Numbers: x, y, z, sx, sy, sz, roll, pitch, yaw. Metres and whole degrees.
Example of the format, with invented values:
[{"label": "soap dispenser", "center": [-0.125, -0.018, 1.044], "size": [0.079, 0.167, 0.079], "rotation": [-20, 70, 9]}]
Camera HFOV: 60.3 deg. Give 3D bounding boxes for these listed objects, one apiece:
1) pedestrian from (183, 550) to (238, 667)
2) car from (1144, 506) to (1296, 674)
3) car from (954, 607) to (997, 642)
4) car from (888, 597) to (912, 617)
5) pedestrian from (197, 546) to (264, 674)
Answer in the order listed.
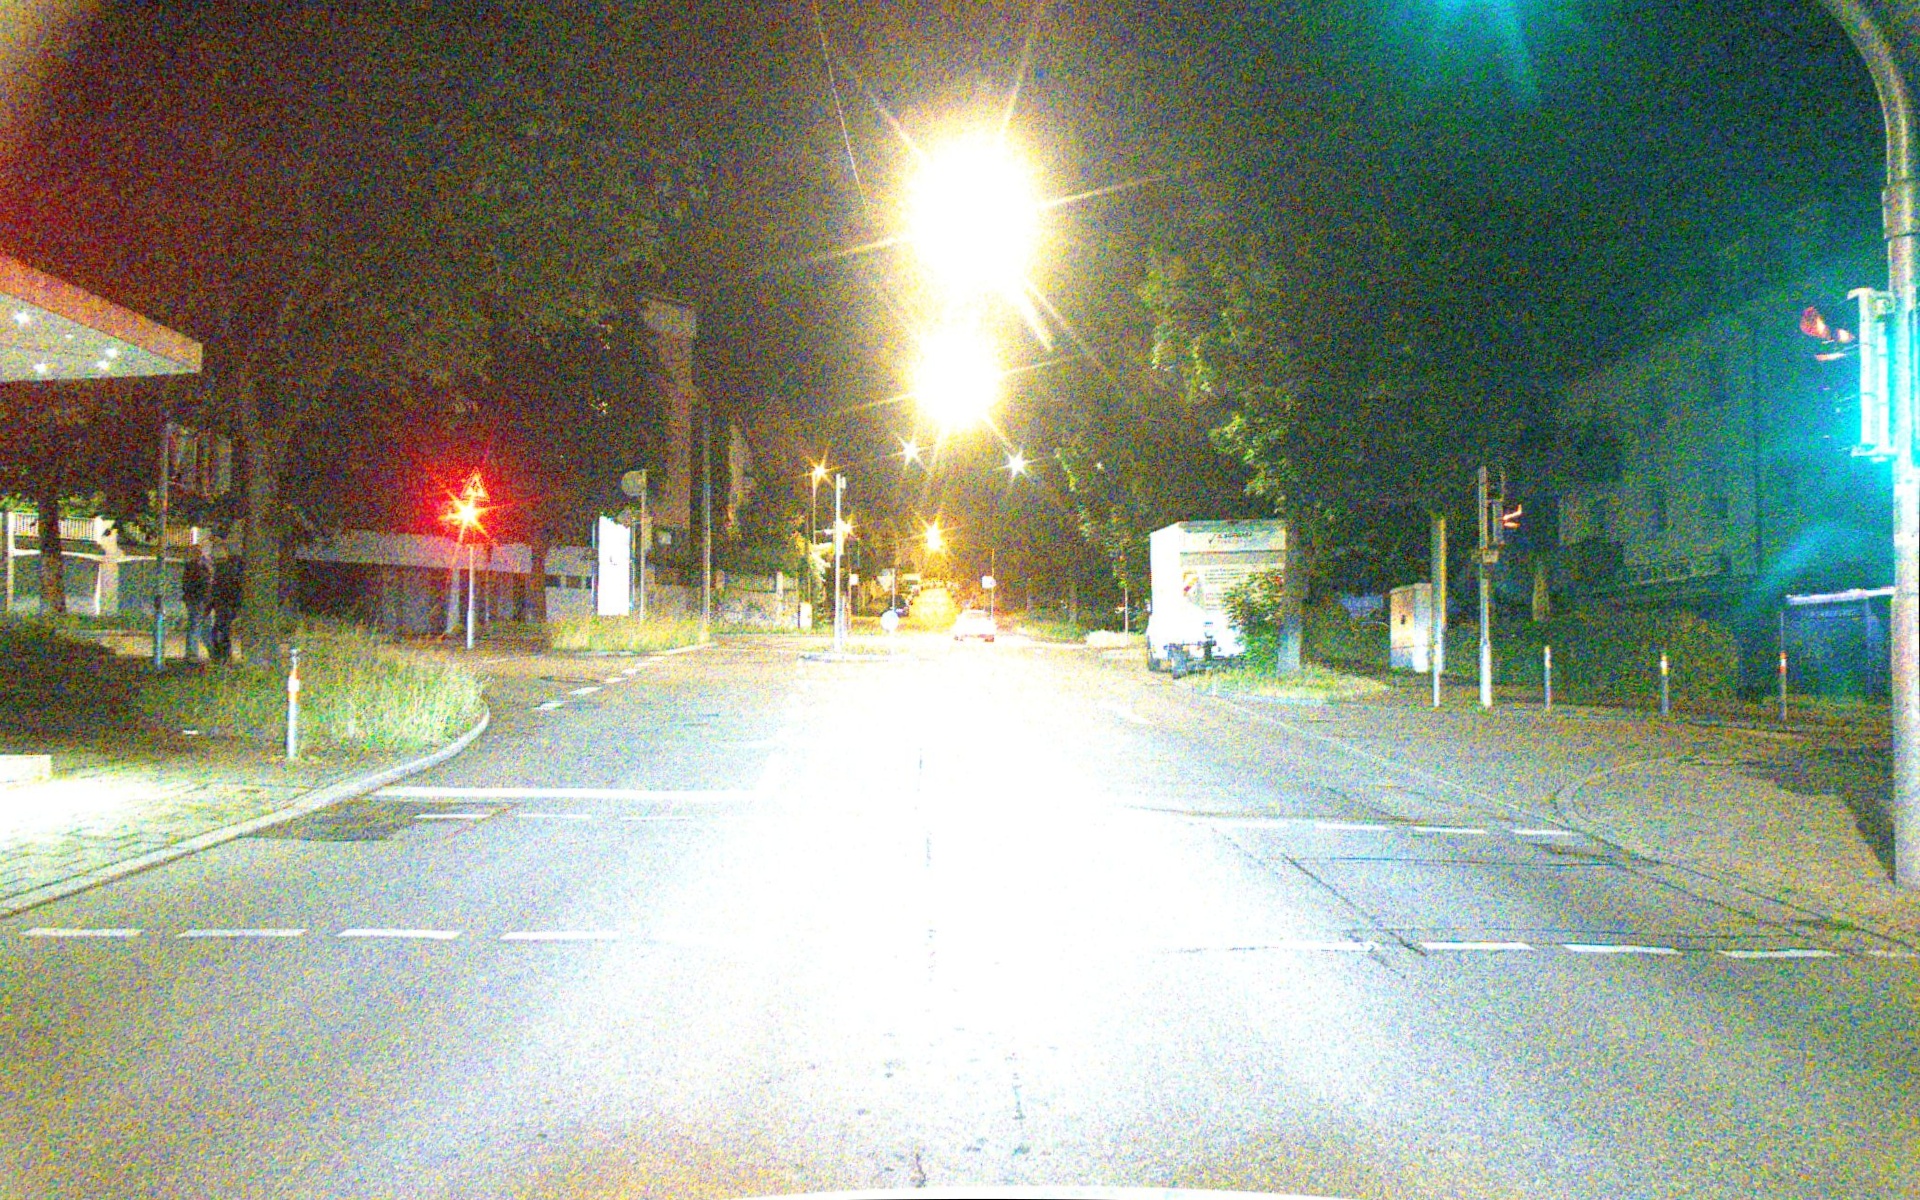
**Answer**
[{"label": "pedestrian", "center": [-11.462, 0.124, 25.292], "size": [0.558, 1.761, 0.543], "rotation": [1, -1, -1]}, {"label": "car", "center": [5.253, -0.180, 34.300], "size": [2.249, 3.147, 5.840], "rotation": [-1, 0, 1]}, {"label": "car", "center": [0.716, 1.118, 76.933], "size": [1.740, 1.512, 3.997], "rotation": [1, 0, -3]}, {"label": "car", "center": [-4.846, 0.544, 134.296], "size": [1.869, 1.585, 3.903], "rotation": [1, 0, -1]}, {"label": "pedestrian", "center": [-10.594, 0.150, 24.041], "size": [0.558, 1.808, 0.737], "rotation": [3, -1, -1]}]
